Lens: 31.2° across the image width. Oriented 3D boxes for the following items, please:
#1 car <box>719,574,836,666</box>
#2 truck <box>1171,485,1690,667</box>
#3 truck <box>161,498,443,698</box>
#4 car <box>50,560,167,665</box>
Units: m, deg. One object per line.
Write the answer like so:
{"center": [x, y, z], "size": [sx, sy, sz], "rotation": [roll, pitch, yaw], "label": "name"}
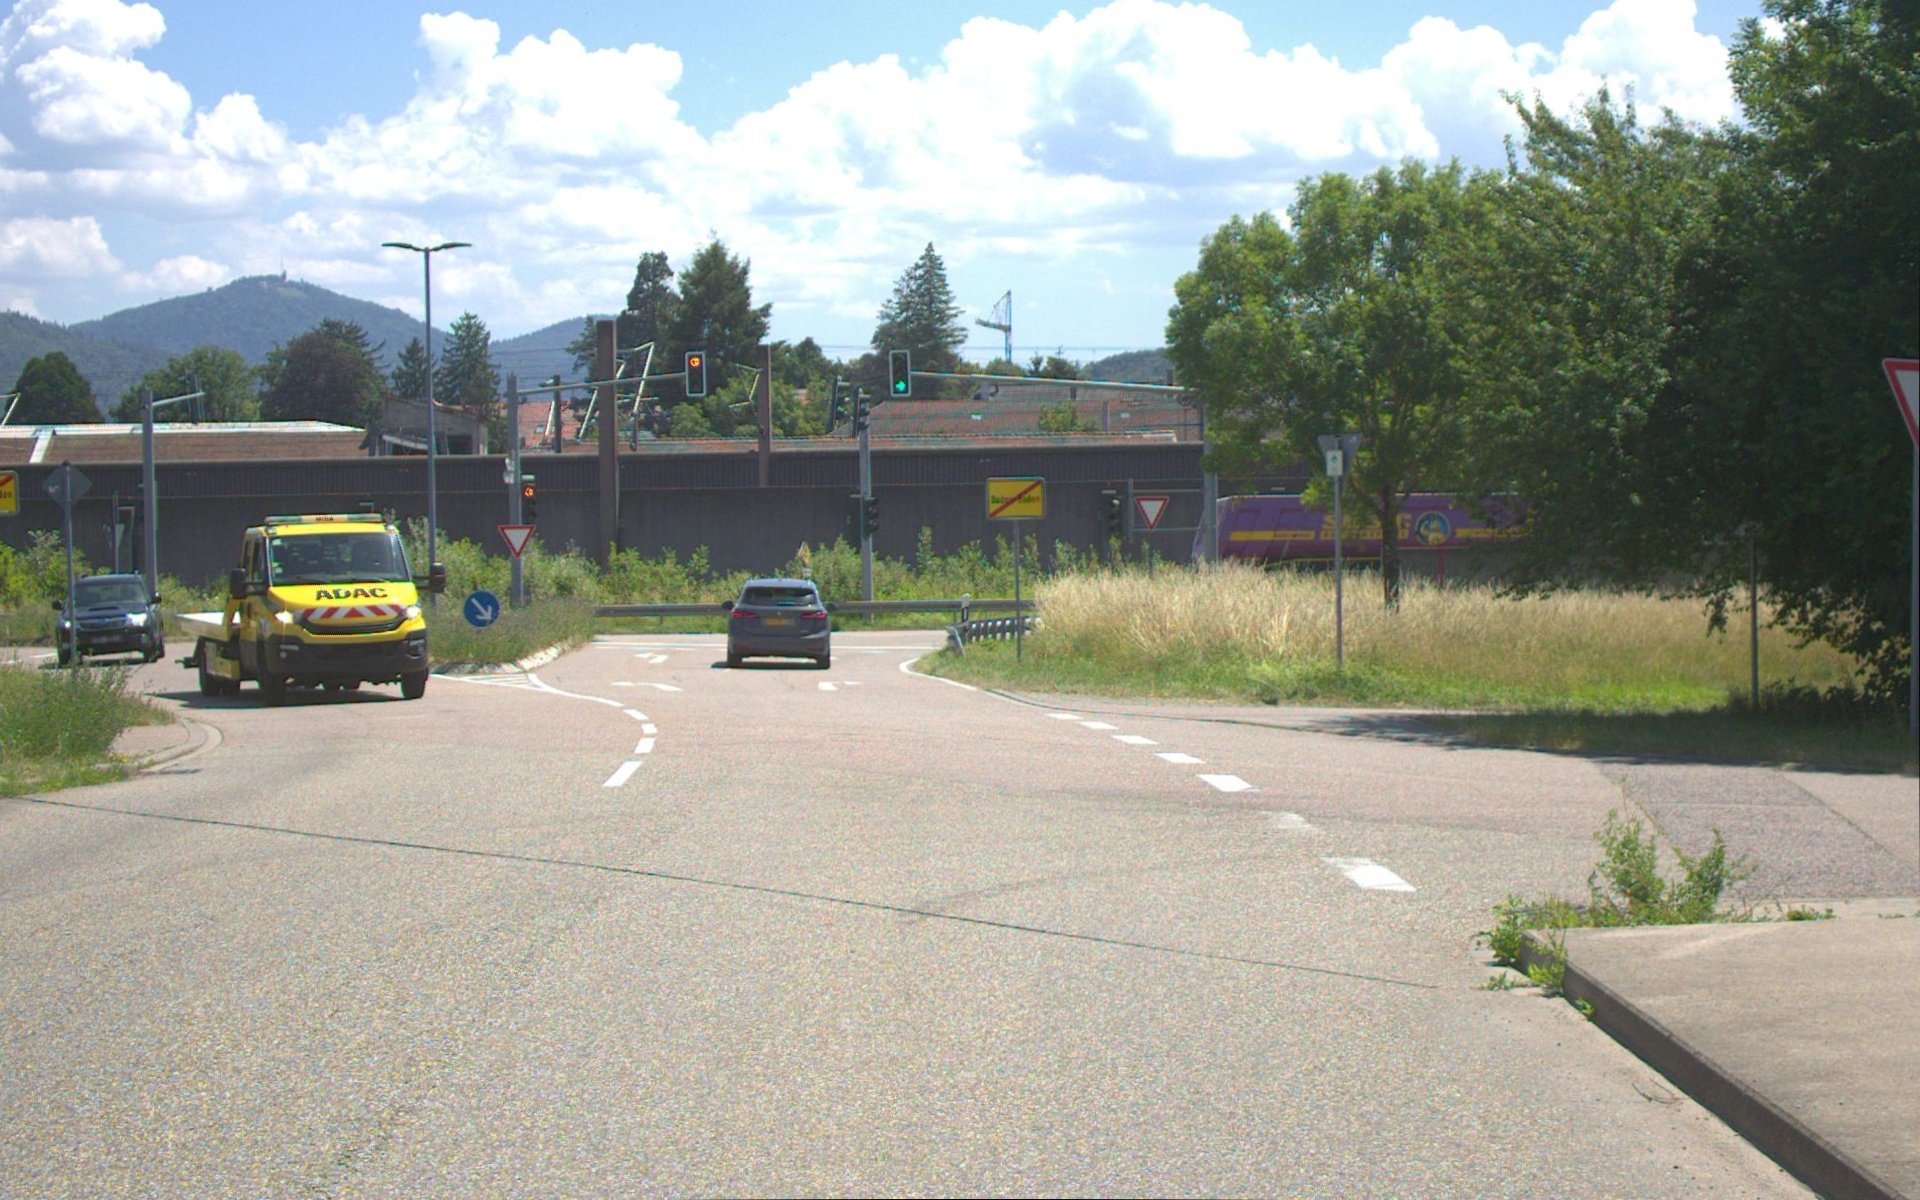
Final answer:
{"center": [-3.258, 0.328, 61.000], "size": [1.993, 1.498, 4.001], "rotation": [1, 1, -4], "label": "car"}
{"center": [11.055, -0.541, 80.981], "size": [11.765, 4.166, 3.006], "rotation": [0, 0, -11], "label": "truck"}
{"center": [-8.948, 0.003, 45.934], "size": [2.310, 2.329, 9.053], "rotation": [-3, 0, -19], "label": "truck"}
{"center": [-15.898, 0.194, 64.056], "size": [1.901, 1.696, 4.002], "rotation": [-4, 3, -15], "label": "car"}
